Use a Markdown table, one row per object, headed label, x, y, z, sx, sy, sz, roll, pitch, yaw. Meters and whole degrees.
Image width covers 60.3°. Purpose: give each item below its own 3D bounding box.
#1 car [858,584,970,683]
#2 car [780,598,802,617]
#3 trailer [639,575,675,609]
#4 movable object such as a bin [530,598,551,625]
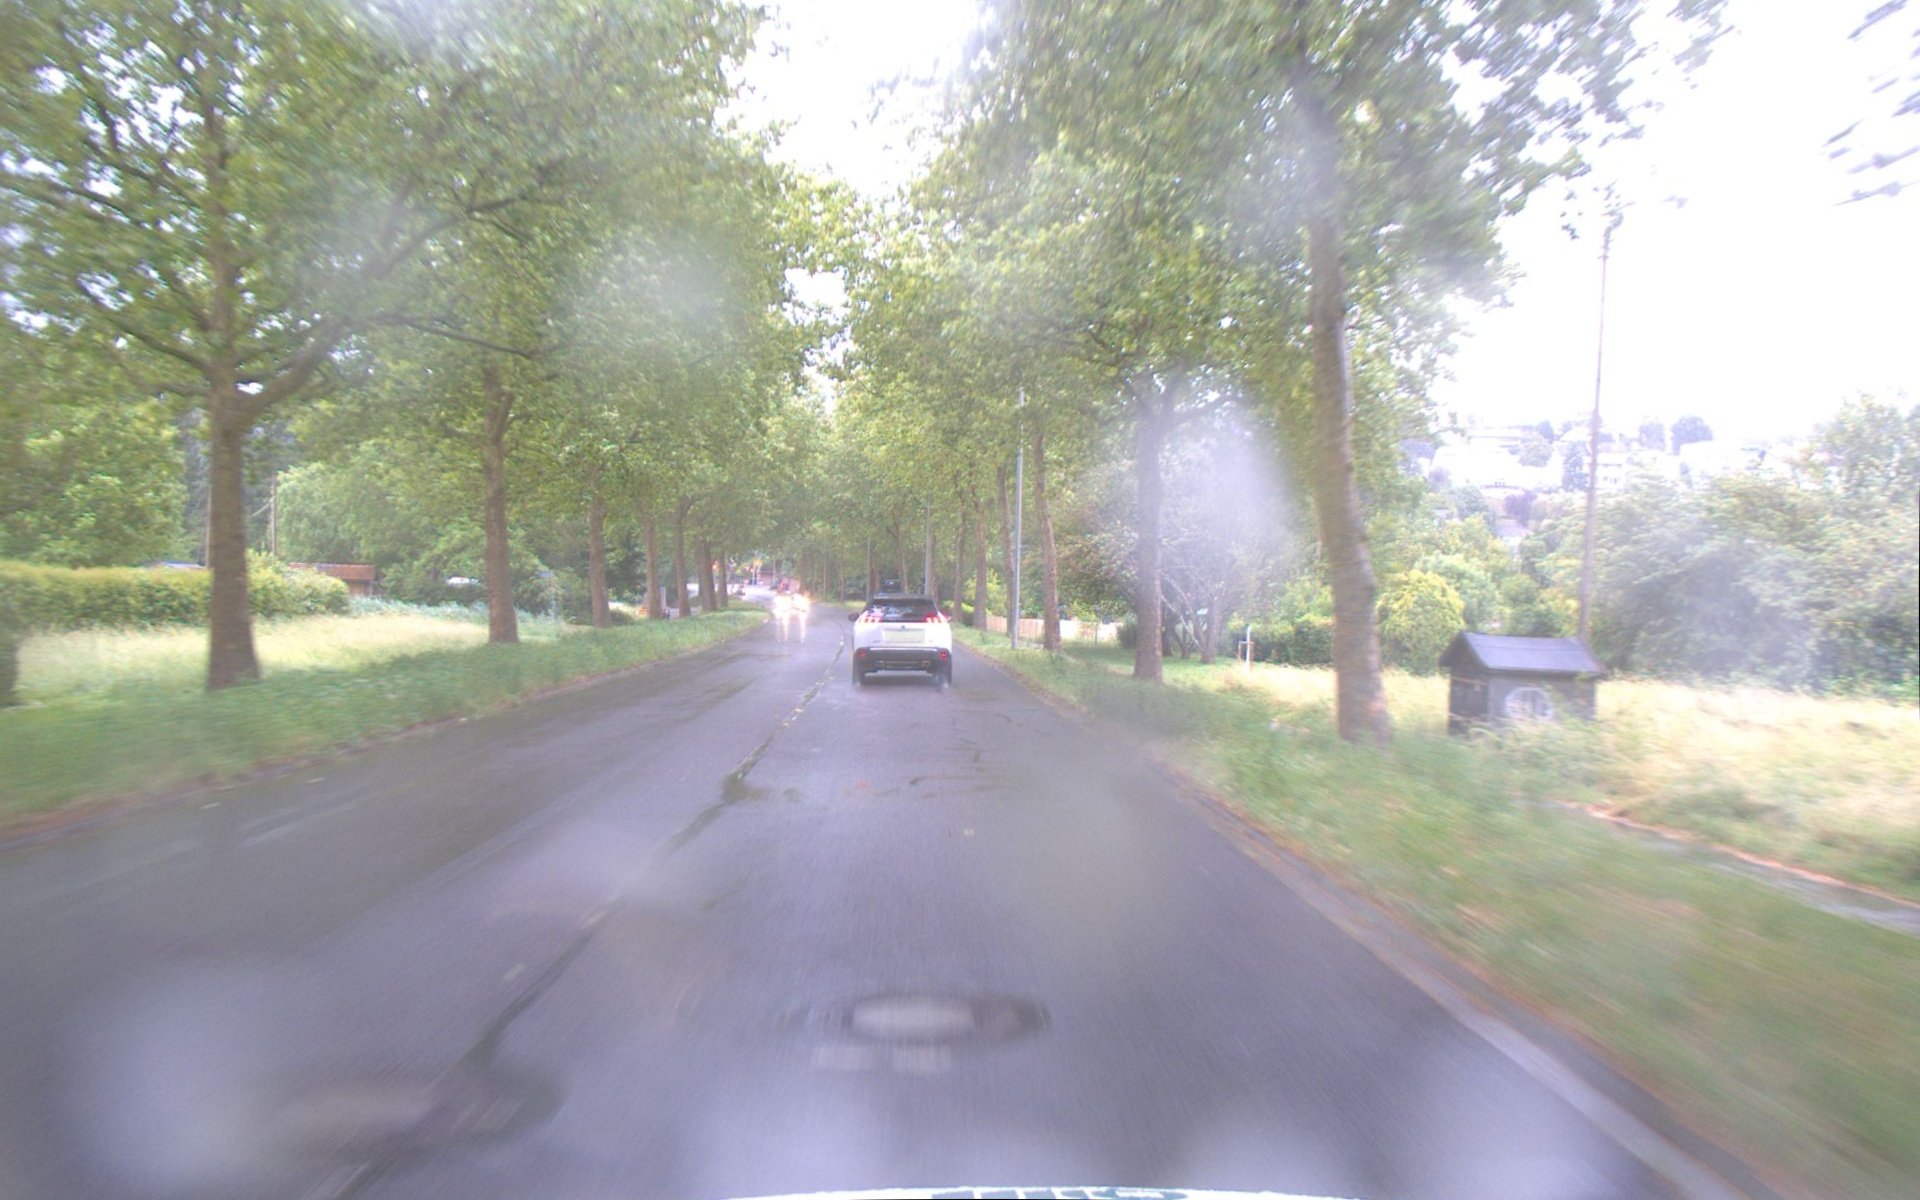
| label | x | y | z | sx | sy | sz | roll | pitch | yaw |
| --- | --- | --- | --- | --- | --- | --- | --- | --- | --- |
| car | -0.892 | 0.547 | 29.845 | 1.759 | 1.606 | 3.840 | 2 | 1 | -5 |
| car | -13.200 | 0.543 | 128.984 | 1.698 | 1.448 | 4.220 | 0 | 0 | -6 |
| trailer | -24.457 | -0.652 | 133.674 | 2.438 | 2.612 | 5.324 | 2 | 0 | -7 |
| movable object such as a bin | -23.083 | 0.632 | 91.076 | 0.944 | 1.447 | 0.964 | 2 | 0 | -8 |
